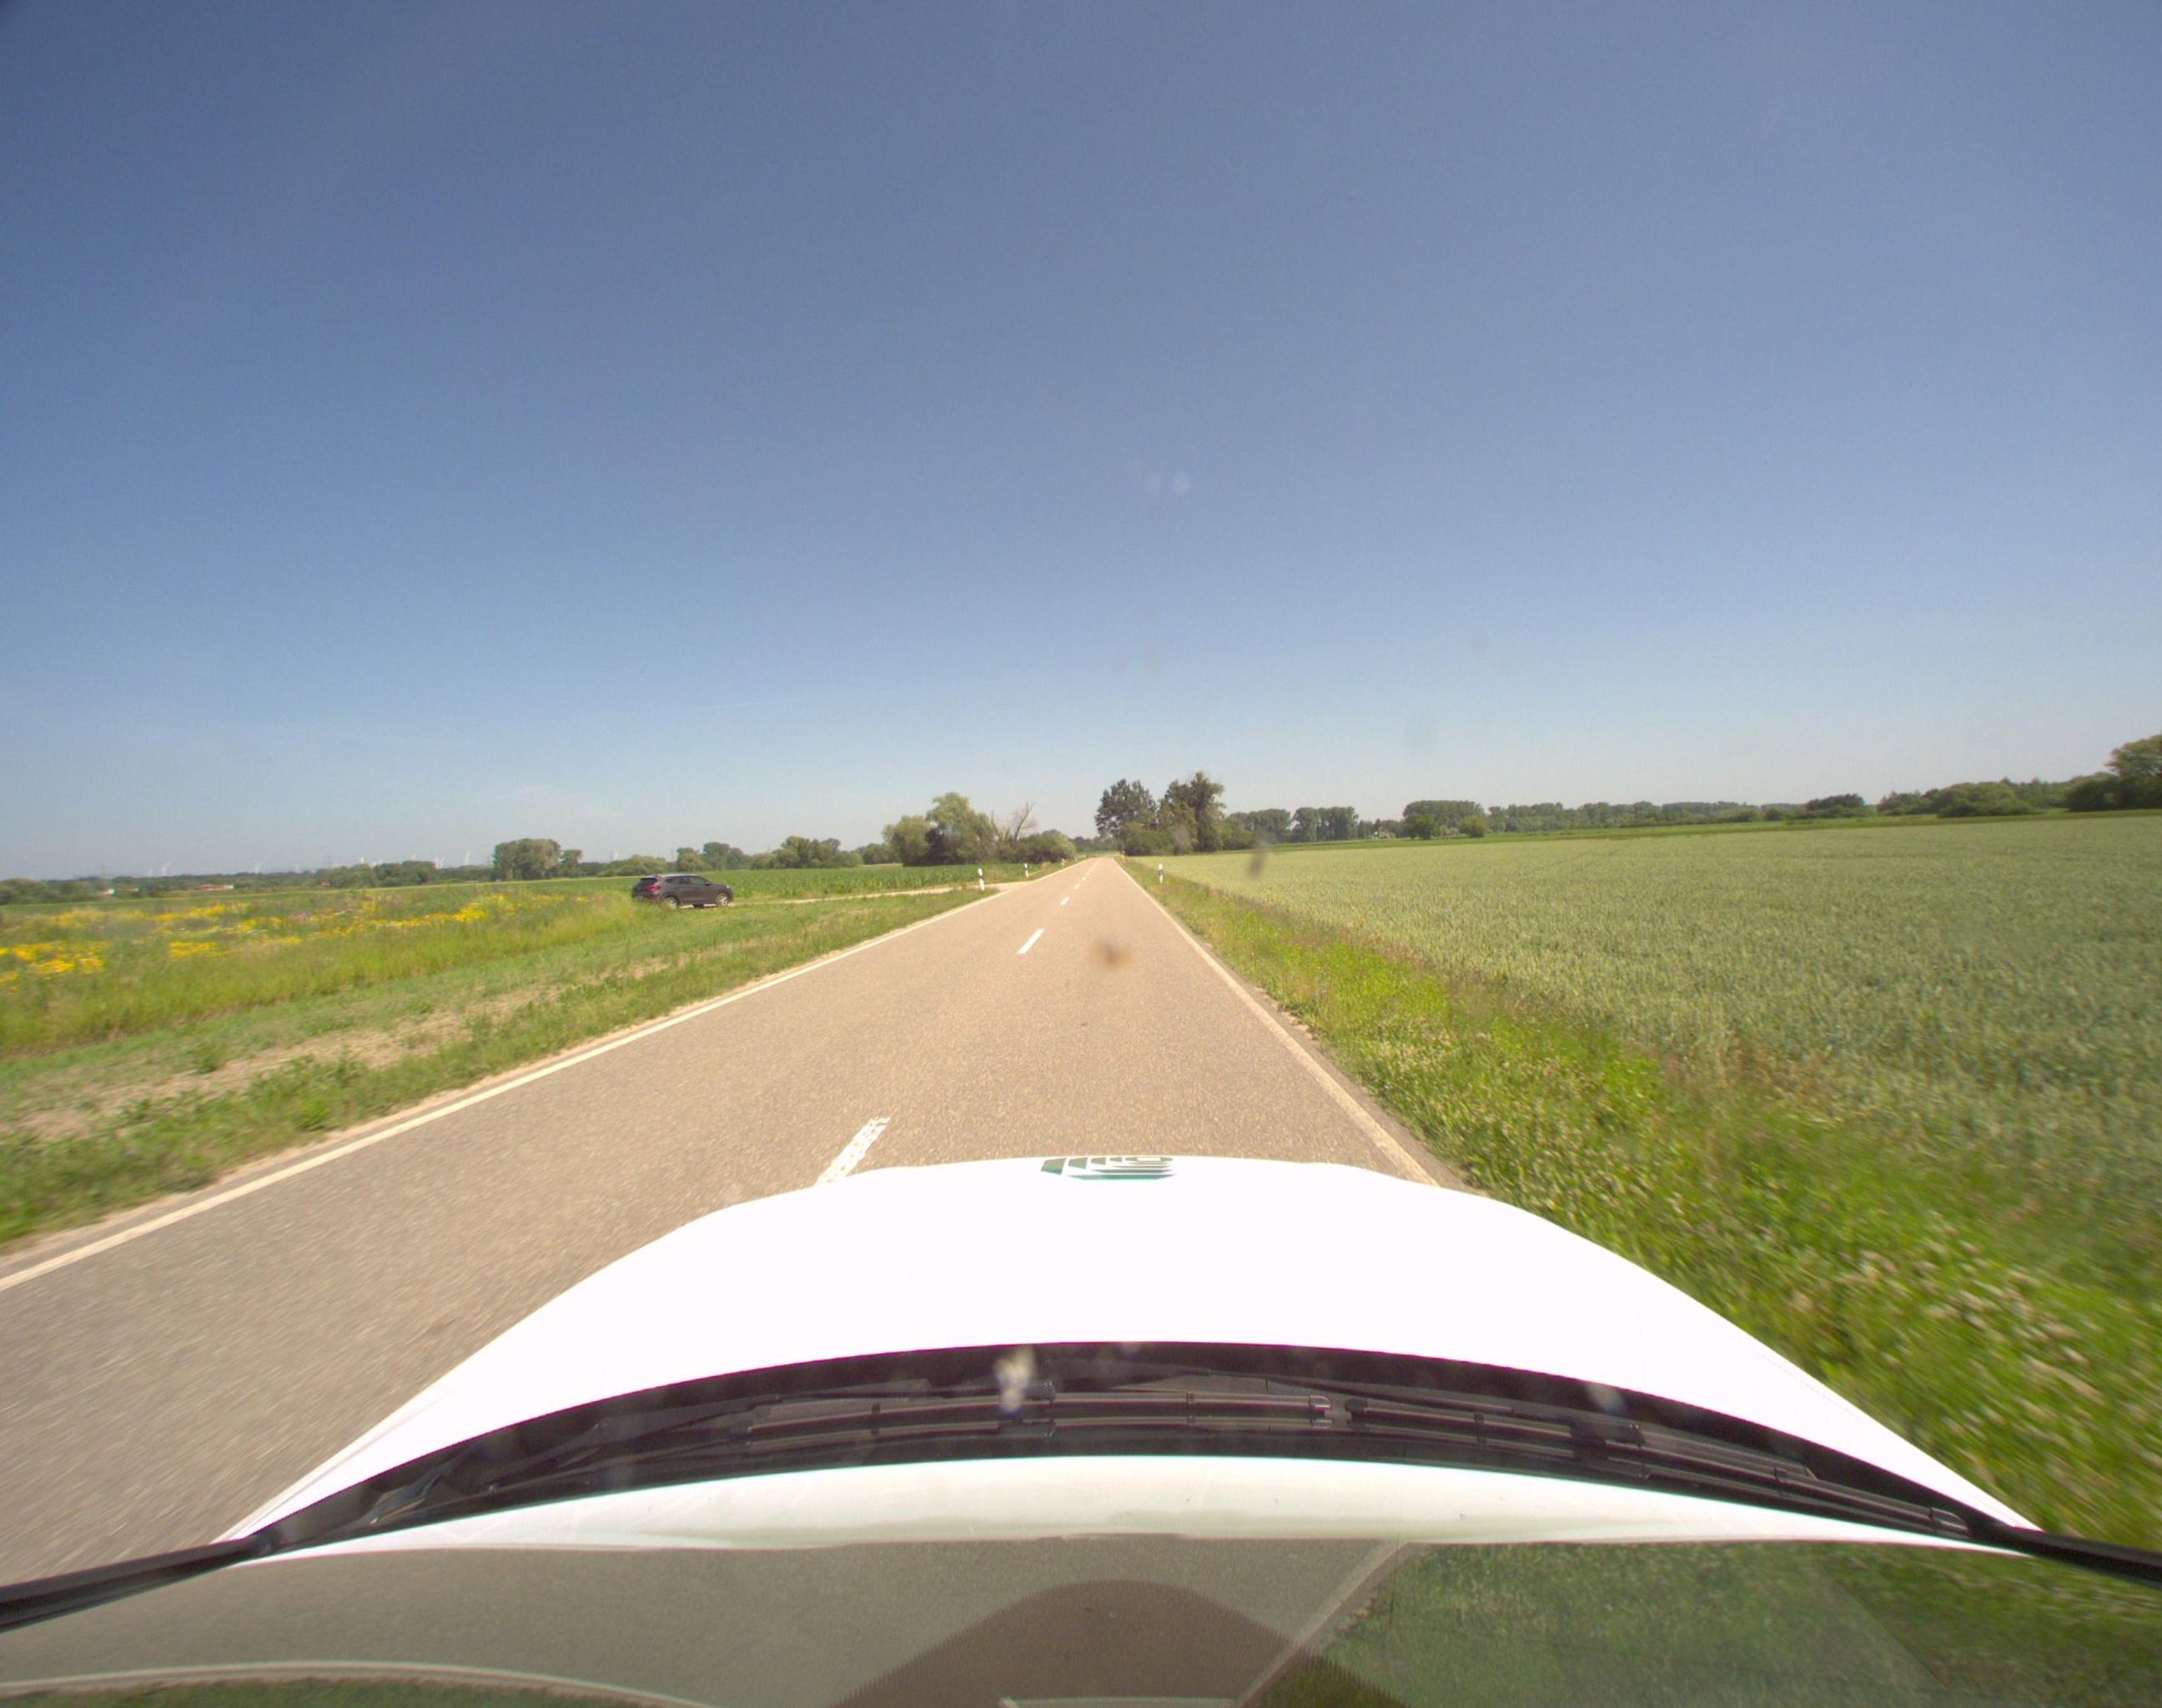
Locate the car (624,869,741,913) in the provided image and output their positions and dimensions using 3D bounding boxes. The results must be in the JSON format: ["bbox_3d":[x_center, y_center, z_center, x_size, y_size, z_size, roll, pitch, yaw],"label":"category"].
[{"bbox_3d":[-17.959,1.631,36.940,1.736,1.651,4.557,-3,0,27],"label":"car"}]
